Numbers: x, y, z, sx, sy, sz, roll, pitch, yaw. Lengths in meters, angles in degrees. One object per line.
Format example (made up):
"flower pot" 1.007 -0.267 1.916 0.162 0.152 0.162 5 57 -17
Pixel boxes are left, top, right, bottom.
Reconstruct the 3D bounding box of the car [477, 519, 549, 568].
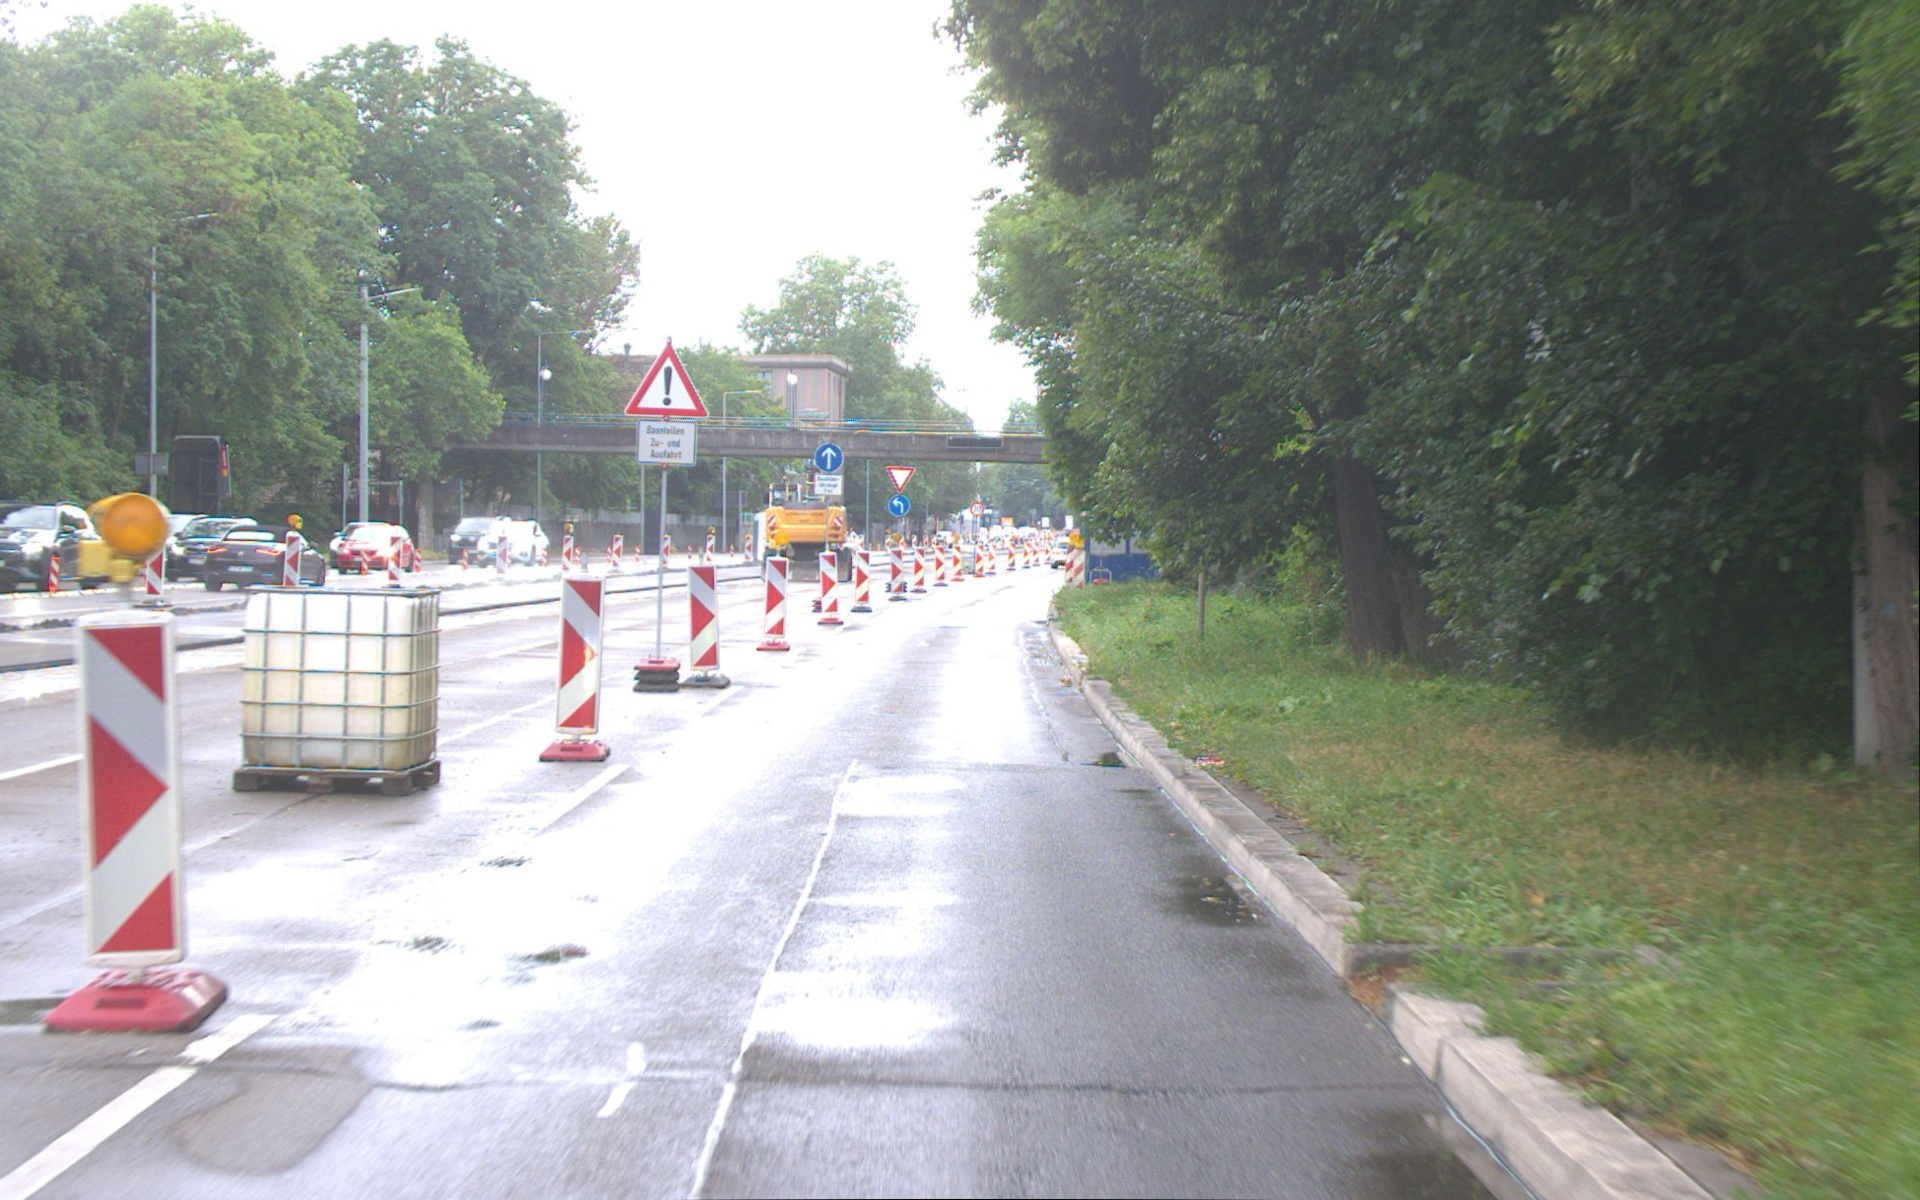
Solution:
"car" -16.062 -2.024 123.696 1.890 1.655 4.893 2 1 1

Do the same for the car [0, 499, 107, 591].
"car" -18.542 -1.117 67.918 2.021 1.719 5.012 2 1 1

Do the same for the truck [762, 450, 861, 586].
"truck" -4.893 -2.710 114.916 2.897 4.244 10.757 2 1 -1

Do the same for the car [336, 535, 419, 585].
"car" -17.101 -1.188 101.022 1.679 1.396 4.013 2 1 1

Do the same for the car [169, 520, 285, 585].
"car" -17.709 -1.156 83.205 1.776 1.482 4.196 2 1 2
